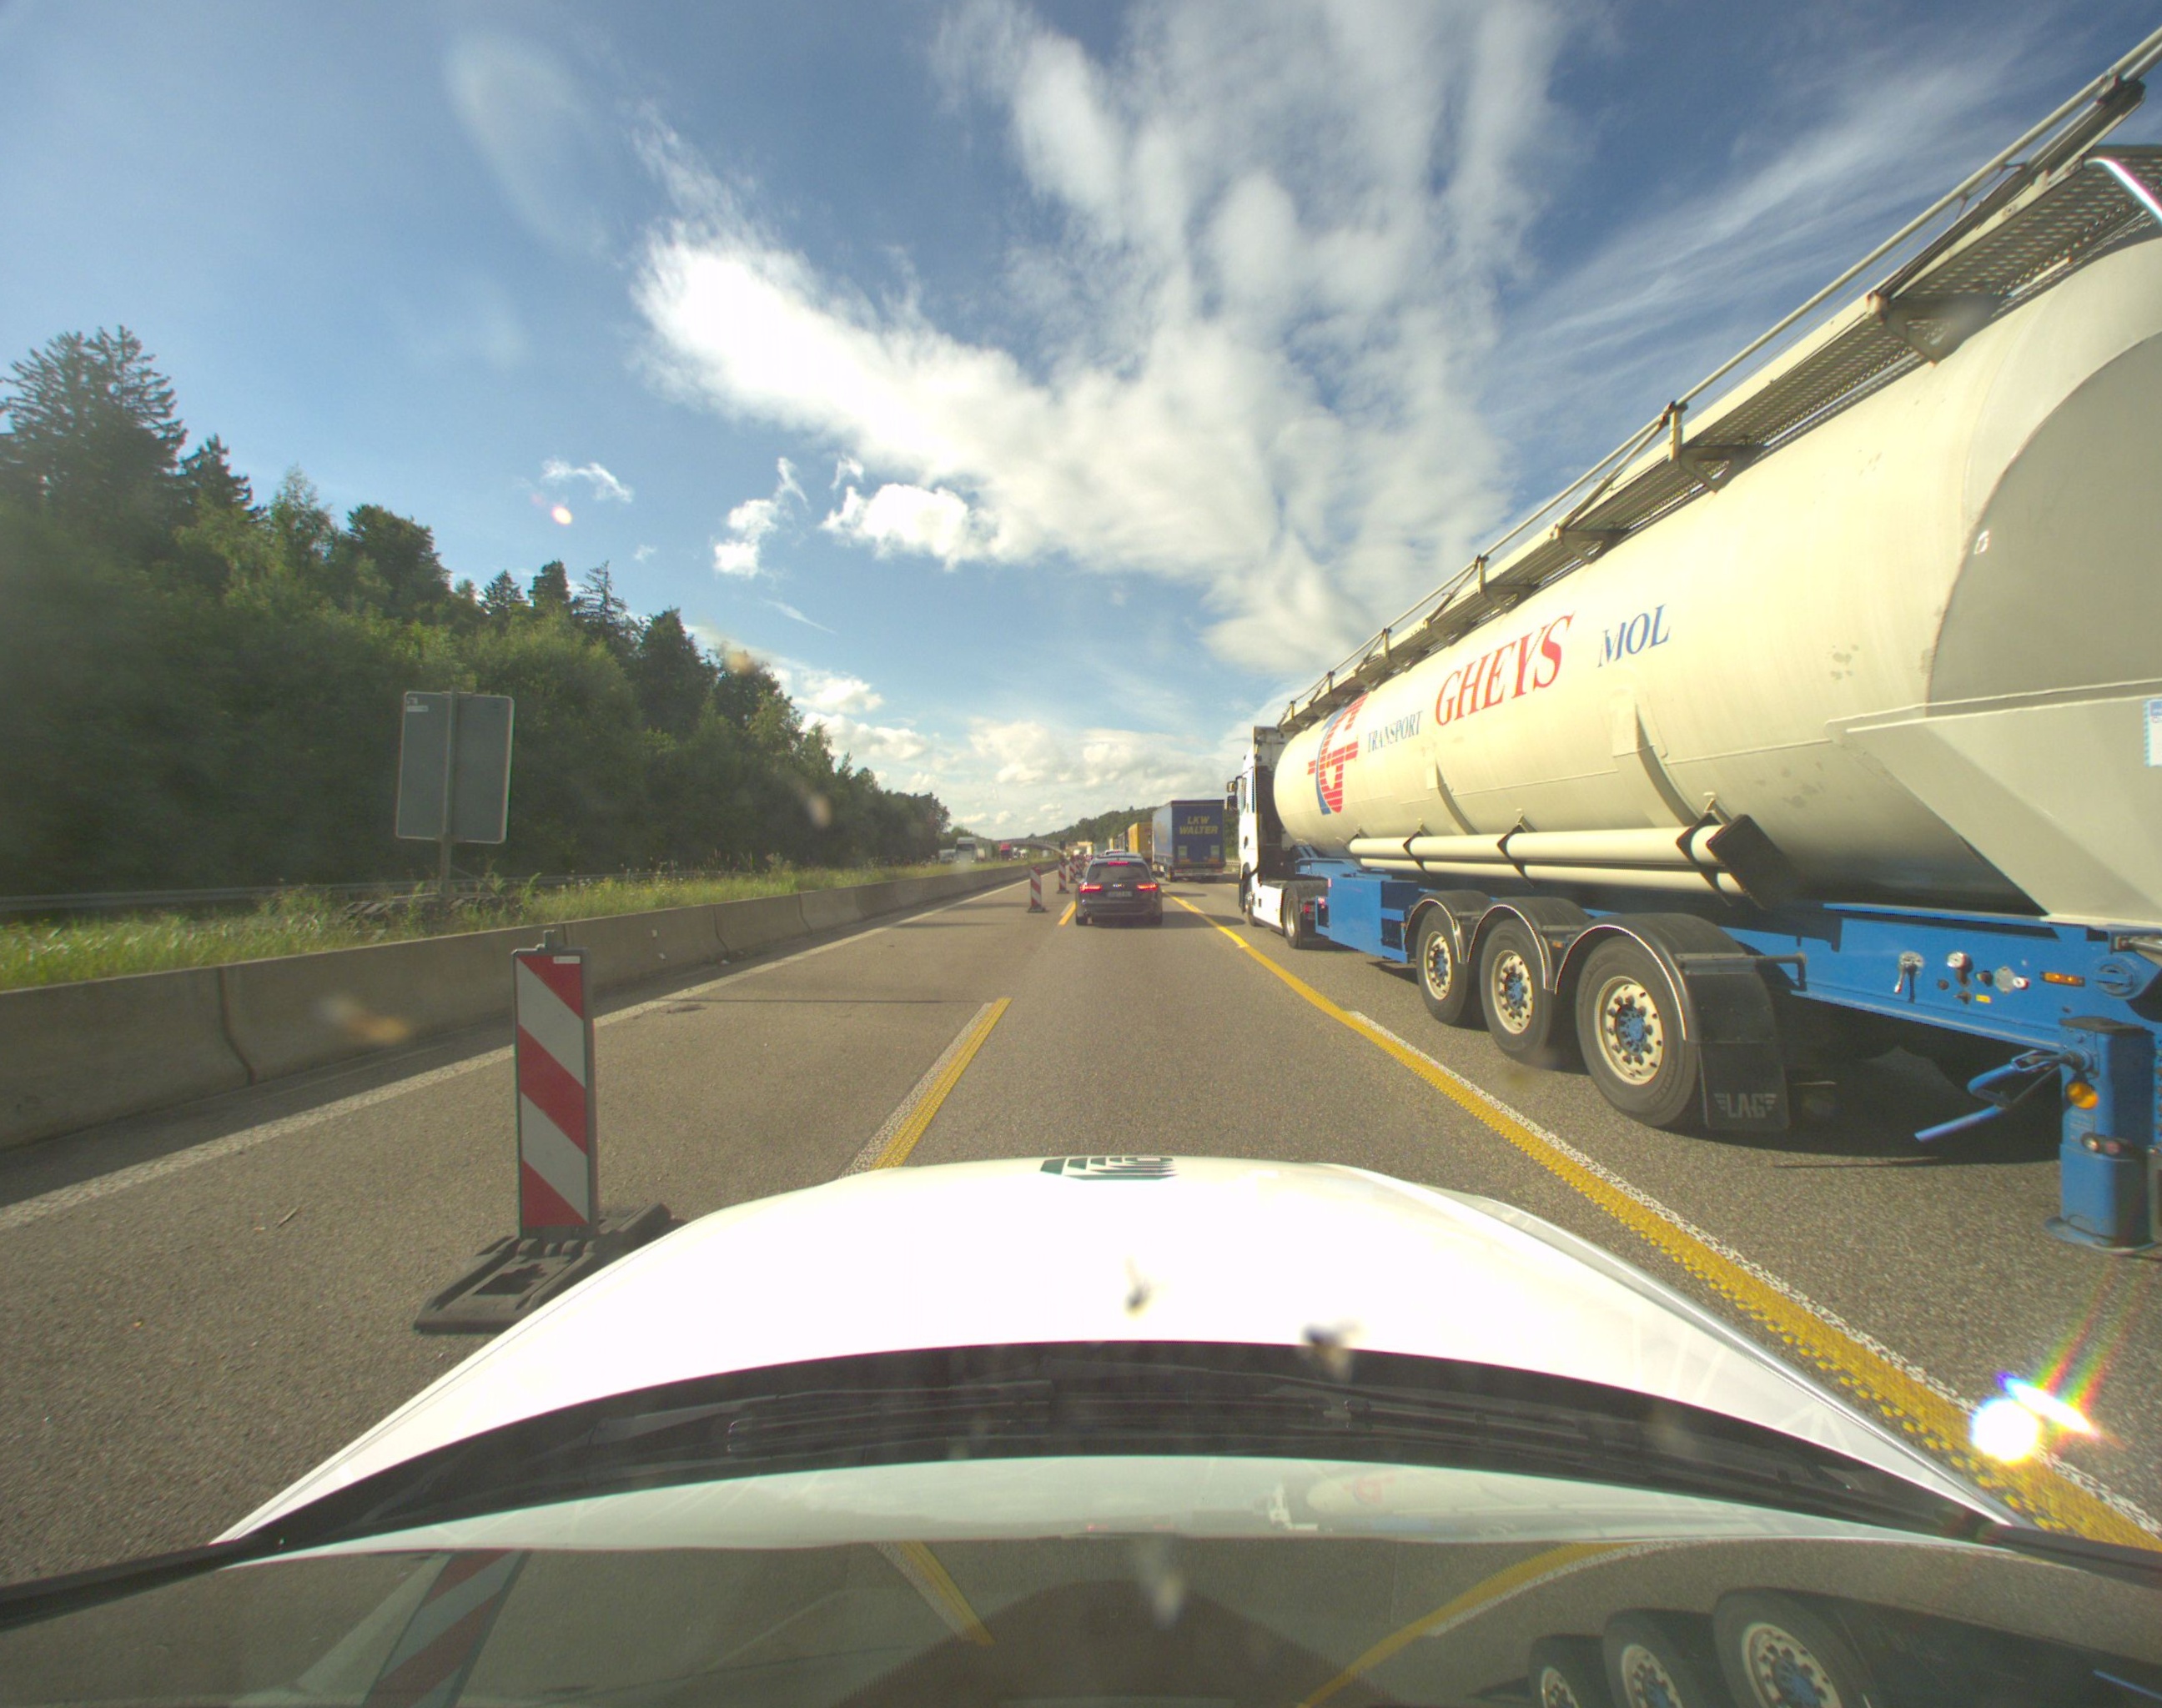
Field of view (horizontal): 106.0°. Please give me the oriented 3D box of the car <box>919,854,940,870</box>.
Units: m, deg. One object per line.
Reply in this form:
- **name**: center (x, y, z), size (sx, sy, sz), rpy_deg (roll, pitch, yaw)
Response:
- **car**: center (-20.108, 1.034, 108.337), size (1.986, 2.014, 4.002), rpy_deg (0, -1, 2)

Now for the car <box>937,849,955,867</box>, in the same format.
- **car**: center (-19.545, 0.591, 118.195), size (2.247, 2.643, 5.010), rpy_deg (0, -1, -5)

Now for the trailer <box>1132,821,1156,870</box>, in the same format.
- **trailer**: center (5.309, -0.661, 69.269), size (1.611, 3.918, 6.490), rpy_deg (0, -1, 1)

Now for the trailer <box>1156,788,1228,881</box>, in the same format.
- **trailer**: center (5.764, -0.907, 43.989), size (2.794, 4.413, 10.437), rpy_deg (0, -1, 2)

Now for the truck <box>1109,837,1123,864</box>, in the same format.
- **truck**: center (5.613, -0.521, 131.997), size (2.129, 4.257, 7.074), rpy_deg (0, -1, 2)

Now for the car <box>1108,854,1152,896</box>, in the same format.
- **car**: center (1.744, 0.732, 29.710), size (1.518, 1.439, 3.286), rpy_deg (0, -1, 2)

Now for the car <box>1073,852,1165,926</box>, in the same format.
- **car**: center (0.849, 0.726, 18.459), size (1.841, 1.463, 4.002), rpy_deg (-1, -1, 2)

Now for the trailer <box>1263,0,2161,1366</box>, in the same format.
- **trailer**: center (4.308, -0.648, 8.046), size (2.634, 3.943, 12.603), rpy_deg (0, 0, 2)

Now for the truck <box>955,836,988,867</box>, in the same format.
- **truck**: center (-15.000, -0.277, 112.284), size (2.772, 3.985, 10.866), rpy_deg (0, -1, 2)

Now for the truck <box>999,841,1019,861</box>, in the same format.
- **truck**: center (-15.197, -0.620, 172.103), size (2.790, 3.992, 10.191), rpy_deg (-1, 0, 2)

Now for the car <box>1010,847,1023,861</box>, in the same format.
- **car**: center (-15.910, -0.083, 201.046), size (2.477, 3.370, 7.454), rpy_deg (0, -1, 2)

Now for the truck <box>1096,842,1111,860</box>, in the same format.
- **truck**: center (5.316, -0.659, 195.643), size (3.293, 4.175, 9.701), rpy_deg (-1, 0, 0)

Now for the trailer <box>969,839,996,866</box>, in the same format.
- **trailer**: center (-14.703, -0.207, 121.998), size (2.780, 3.923, 8.491), rpy_deg (0, -1, 2)

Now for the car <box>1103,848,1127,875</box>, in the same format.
- **car**: center (2.391, 0.536, 57.240), size (1.575, 1.837, 3.113), rpy_deg (0, -1, 2)

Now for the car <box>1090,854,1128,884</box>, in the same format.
- **car**: center (1.377, 0.709, 39.685), size (1.745, 1.397, 3.609), rpy_deg (0, -1, 2)

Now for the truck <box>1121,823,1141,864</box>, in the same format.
- **truck**: center (6.171, -1.241, 100.673), size (1.986, 4.914, 9.563), rpy_deg (-1, 0, 1)

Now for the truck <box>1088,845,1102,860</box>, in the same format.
- **truck**: center (3.847, -0.394, 226.185), size (3.294, 4.174, 9.698), rpy_deg (-1, 0, -1)

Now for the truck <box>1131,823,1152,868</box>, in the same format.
- **truck**: center (5.392, -0.705, 72.919), size (1.604, 3.897, 4.073), rpy_deg (0, -1, 1)

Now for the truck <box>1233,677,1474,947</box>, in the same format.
- **truck**: center (4.562, -0.601, 14.946), size (2.649, 3.972, 5.781), rpy_deg (0, -1, 2)

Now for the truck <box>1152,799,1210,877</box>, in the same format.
- **truck**: center (5.962, -0.874, 49.671), size (2.795, 4.370, 7.795), rpy_deg (0, -1, 2)
